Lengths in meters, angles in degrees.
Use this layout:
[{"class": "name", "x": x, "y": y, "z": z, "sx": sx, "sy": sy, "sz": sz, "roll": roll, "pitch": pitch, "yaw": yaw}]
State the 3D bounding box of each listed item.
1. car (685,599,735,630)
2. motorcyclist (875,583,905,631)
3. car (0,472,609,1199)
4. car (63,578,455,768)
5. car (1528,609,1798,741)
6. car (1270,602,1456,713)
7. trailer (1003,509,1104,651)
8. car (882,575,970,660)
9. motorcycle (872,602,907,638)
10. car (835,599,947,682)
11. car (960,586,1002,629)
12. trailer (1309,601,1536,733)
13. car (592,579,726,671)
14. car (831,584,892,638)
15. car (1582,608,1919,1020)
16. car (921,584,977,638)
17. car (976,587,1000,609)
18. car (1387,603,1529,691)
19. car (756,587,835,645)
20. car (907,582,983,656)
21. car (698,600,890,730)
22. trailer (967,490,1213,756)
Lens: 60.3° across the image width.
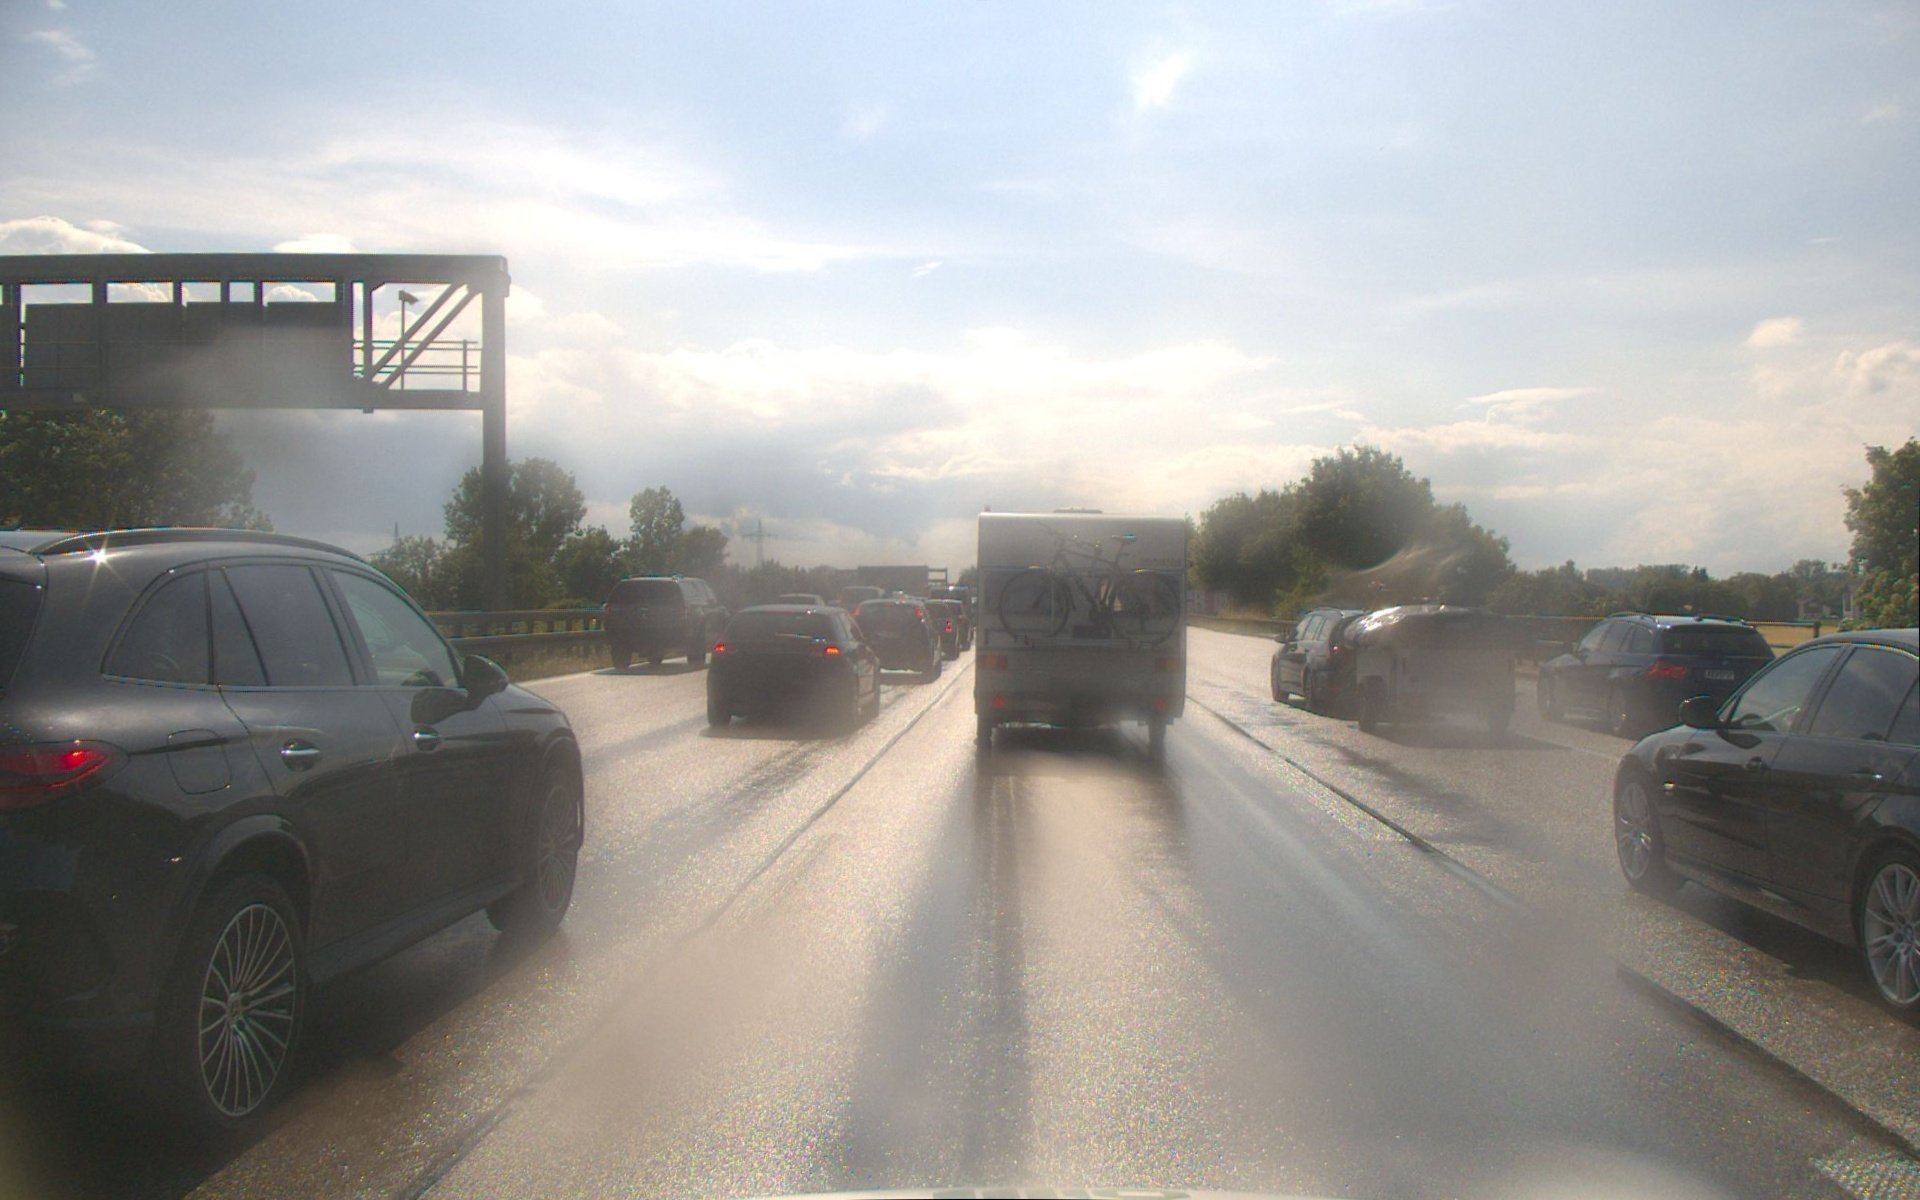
[{"class": "car", "x": -11.949, "y": 0.680, "z": 79.319, "sx": 1.720, "sy": 1.404, "sz": 3.877, "roll": 0, "pitch": 0, "yaw": 1}, {"class": "motorcyclist", "x": -2.596, "y": 0.259, "z": 61.534, "sx": 1.041, "sy": 1.748, "sz": 0.785, "roll": 1, "pitch": -1, "yaw": 3}, {"class": "car", "x": -2.721, "y": 0.585, "z": 5.614, "sx": 1.952, "sy": 1.690, "sz": 4.407, "roll": 1, "pitch": 0, "yaw": 2}, {"class": "car", "x": -6.393, "y": 0.594, "z": 15.655, "sx": 1.720, "sy": 1.543, "sz": 4.210, "roll": 0, "pitch": 0, "yaw": 3}, {"class": "car", "x": 8.580, "y": 0.847, "z": 20.602, "sx": 1.734, "sy": 1.426, "sz": 4.291, "roll": 1, "pitch": 0, "yaw": 3}, {"class": "car", "x": 5.786, "y": 0.772, "z": 24.226, "sx": 1.816, "sy": 1.467, "sz": 4.259, "roll": 0, "pitch": 0, "yaw": 2}, {"class": "trailer", "x": 3.125, "y": -0.588, "z": 53.943, "sx": 2.944, "sy": 4.239, "sz": 8.540, "roll": 1, "pitch": 0, "yaw": 4}, {"class": "car", "x": -0.838, "y": 0.435, "z": 42.917, "sx": 1.952, "sy": 2.049, "sz": 4.001, "roll": 1, "pitch": 0, "yaw": 3}, {"class": "motorcycle", "x": -2.604, "y": 0.718, "z": 61.371, "sx": 1.051, "sy": 1.293, "sz": 2.691, "roll": 1, "pitch": 0, "yaw": 3}, {"class": "car", "x": -1.255, "y": 0.733, "z": 31.565, "sx": 1.768, "sy": 1.432, "sz": 4.001, "roll": 1, "pitch": 0, "yaw": 2}, {"class": "car", "x": 1.085, "y": 0.374, "z": 83.826, "sx": 1.952, "sy": 2.049, "sz": 4.001, "roll": 1, "pitch": 0, "yaw": 3}, {"class": "trailer", "x": 5.654, "y": 0.761, "z": 20.742, "sx": 1.816, "sy": 1.467, "sz": 4.149, "roll": 0, "pitch": 0, "yaw": 2}, {"class": "car", "x": -6.155, "y": 0.499, "z": 34.245, "sx": 1.952, "sy": 1.750, "sz": 4.000, "roll": 1, "pitch": 0, "yaw": 1}, {"class": "car", "x": -4.060, "y": 0.457, "z": 68.924, "sx": 1.952, "sy": 2.048, "sz": 4.001, "roll": 4, "pitch": 0, "yaw": 3}, {"class": "car", "x": 4.327, "y": 0.777, "z": 7.479, "sx": 1.704, "sy": 1.445, "sz": 3.837, "roll": 0, "pitch": 0, "yaw": 2}, {"class": "car", "x": -0.402, "y": 0.423, "z": 64.660, "sx": 1.952, "sy": 2.049, "sz": 4.001, "roll": 0, "pitch": 0, "yaw": 3}, {"class": "car", "x": 2.356, "y": -0.178, "z": 139.007, "sx": 1.838, "sy": 1.791, "sz": 3.999, "roll": 1, "pitch": 0, "yaw": -1}, {"class": "car", "x": 9.166, "y": 0.820, "z": 30.689, "sx": 1.636, "sy": 1.508, "sz": 3.672, "roll": 0, "pitch": 0, "yaw": 2}, {"class": "car", "x": -5.310, "y": 0.505, "z": 53.936, "sx": 1.952, "sy": 1.803, "sz": 4.001, "roll": 1, "pitch": 0, "yaw": 3}, {"class": "car", "x": -0.415, "y": 0.572, "z": 50.869, "sx": 1.952, "sy": 2.048, "sz": 4.001, "roll": 4, "pitch": 0, "yaw": 3}, {"class": "car", "x": -1.913, "y": 0.719, "z": 20.169, "sx": 1.720, "sy": 1.411, "sz": 3.946, "roll": 0, "pitch": 0, "yaw": 3}, {"class": "trailer", "x": 1.379, "y": 0.236, "z": 19.309, "sx": 2.325, "sy": 2.526, "sz": 6.524, "roll": 1, "pitch": 0, "yaw": 2}]
